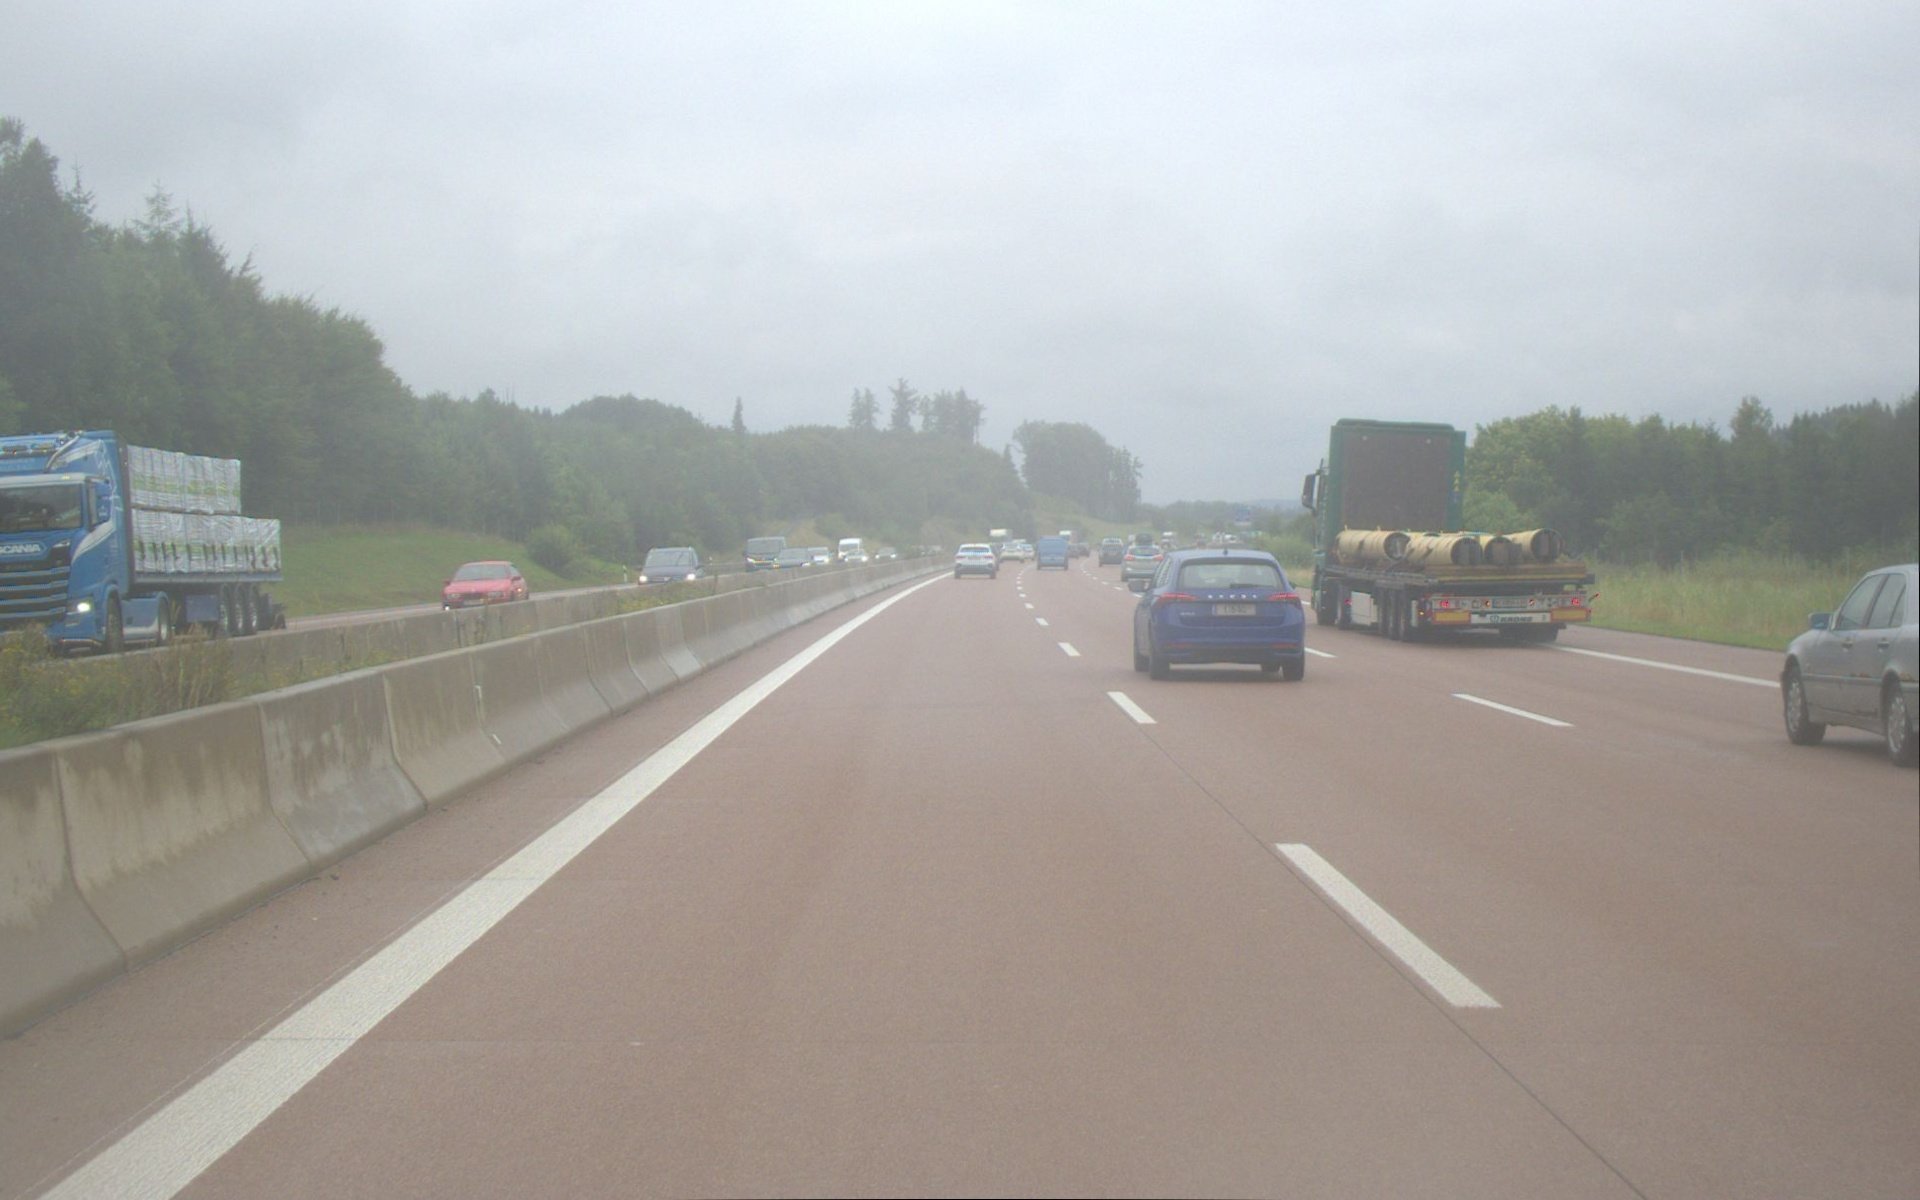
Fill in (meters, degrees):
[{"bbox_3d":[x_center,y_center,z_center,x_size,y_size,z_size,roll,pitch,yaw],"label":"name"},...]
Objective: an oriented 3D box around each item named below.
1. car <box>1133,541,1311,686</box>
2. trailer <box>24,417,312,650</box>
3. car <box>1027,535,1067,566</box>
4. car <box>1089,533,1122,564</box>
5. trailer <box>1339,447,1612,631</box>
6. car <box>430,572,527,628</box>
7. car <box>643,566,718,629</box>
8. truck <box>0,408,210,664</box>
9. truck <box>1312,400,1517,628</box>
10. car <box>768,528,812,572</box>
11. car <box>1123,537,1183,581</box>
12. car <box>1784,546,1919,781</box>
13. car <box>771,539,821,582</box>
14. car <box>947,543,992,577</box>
[{"bbox_3d":[2.965,0.148,39.589,1.771,1.559,4.146,1,0,1],"label":"car"},{"bbox_3d":[-16.352,-1.450,72.163,2.933,4.261,12.947,-4,2,-1],"label":"trailer"},{"bbox_3d":[5.218,-2.976,206.442,2.322,1.744,4.877,1,0,1],"label":"car"},{"bbox_3d":[9.756,-3.430,230.734,1.993,2.007,4.000,1,0,1],"label":"car"},{"bbox_3d":[8.211,-0.887,56.271,2.881,2.666,11.398,1,0,1],"label":"trailer"},{"bbox_3d":[-12.307,0.012,88.180,1.818,1.365,5.115,1,0,-1],"label":"car"},{"bbox_3d":[-8.428,-0.067,104.052,1.818,1.835,6.238,1,0,-1],"label":"car"},{"bbox_3d":[-16.245,-1.201,63.320,2.964,4.305,7.650,-4,2,-1],"label":"truck"},{"bbox_3d":[8.334,-1.506,63.820,2.897,3.951,6.988,1,0,1],"label":"truck"},{"bbox_3d":[-9.305,-2.708,188.259,2.102,2.272,5.396,1,0,0],"label":"car"},{"bbox_3d":[8.109,-1.711,145.004,2.322,1.744,4.877,1,0,1],"label":"car"},{"bbox_3d":[7.414,0.427,24.891,1.698,1.606,4.977,0,0,0],"label":"car"},{"bbox_3d":[-7.550,-1.810,158.829,1.776,1.850,5.321,1,0,3],"label":"car"},{"bbox_3d":[0.409,-1.787,153.739,1.874,1.439,4.877,1,0,-1],"label":"car"}]
